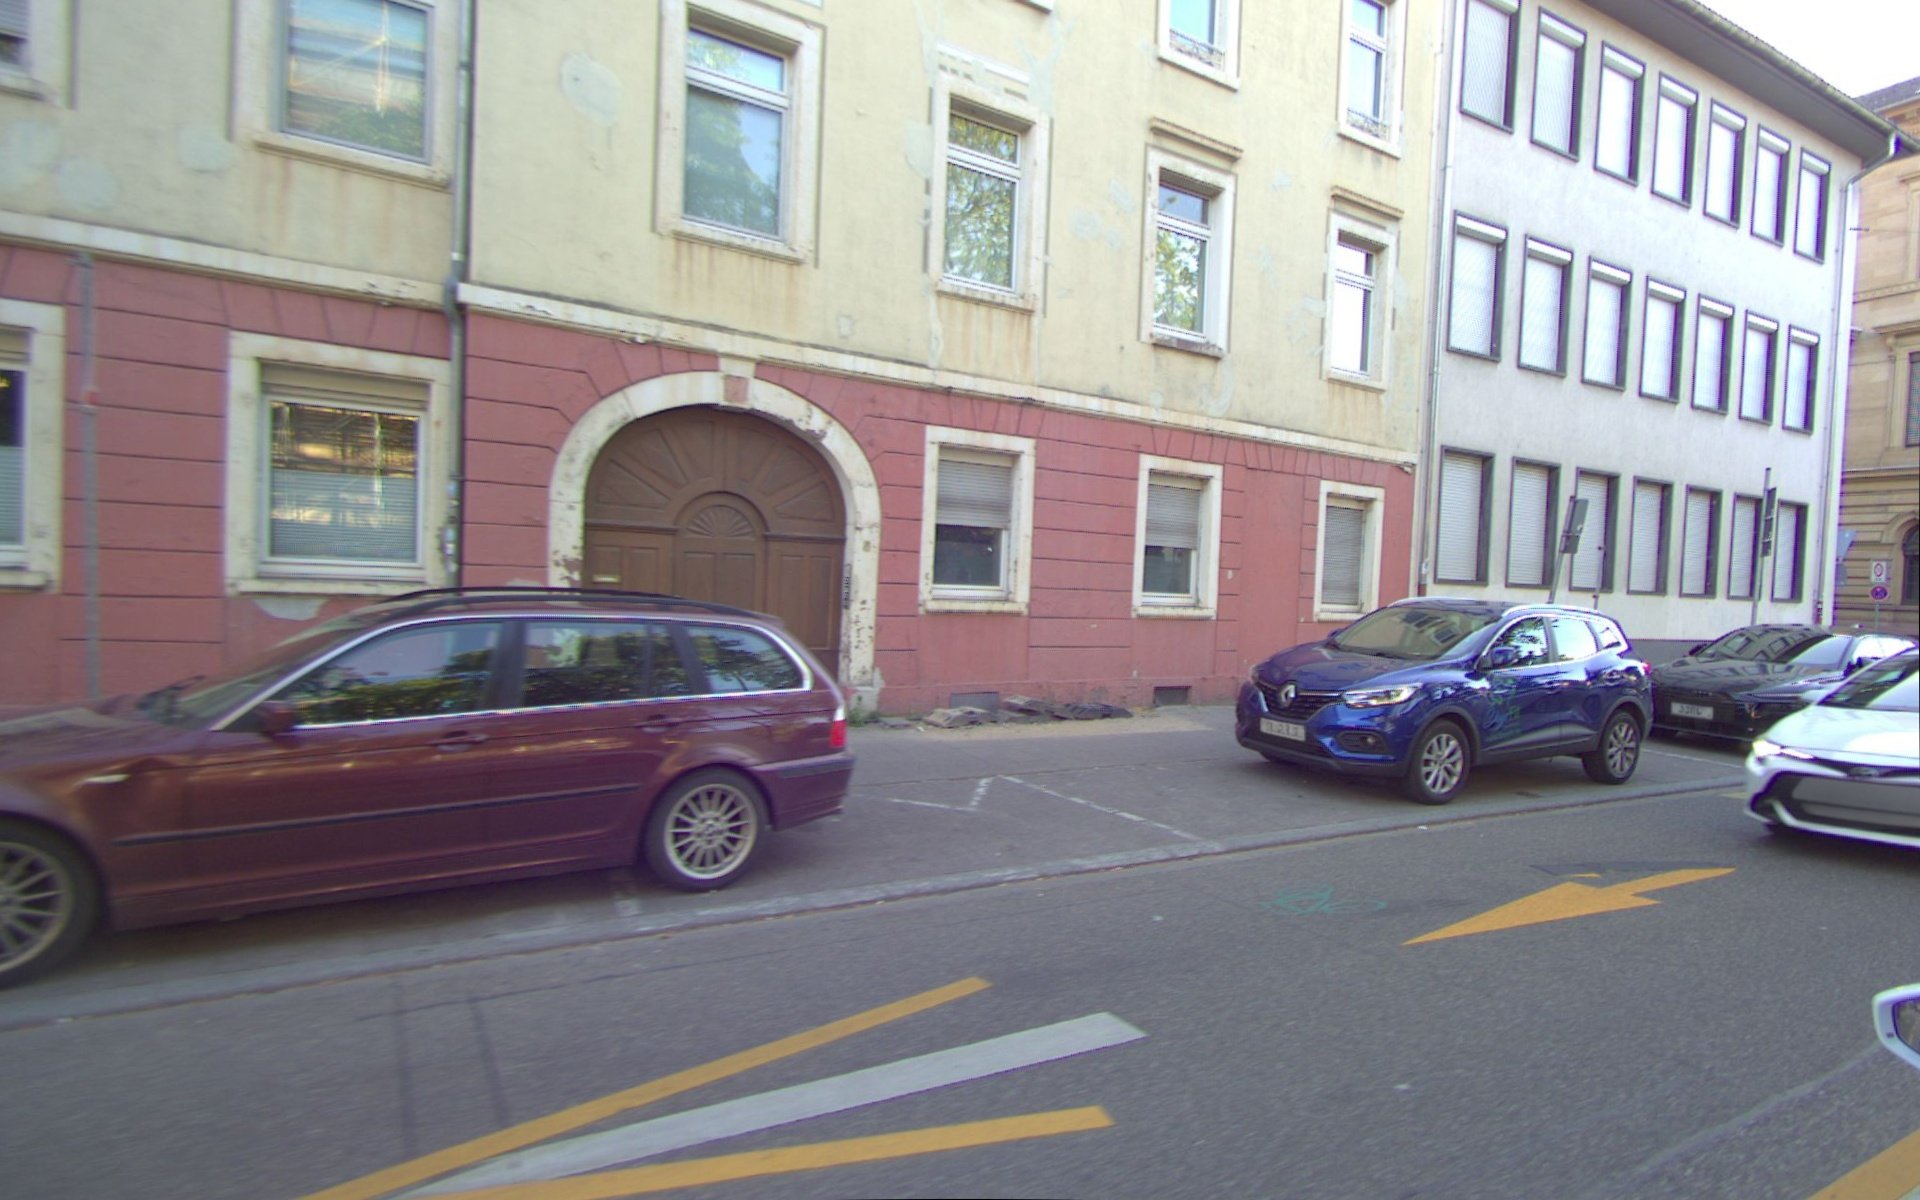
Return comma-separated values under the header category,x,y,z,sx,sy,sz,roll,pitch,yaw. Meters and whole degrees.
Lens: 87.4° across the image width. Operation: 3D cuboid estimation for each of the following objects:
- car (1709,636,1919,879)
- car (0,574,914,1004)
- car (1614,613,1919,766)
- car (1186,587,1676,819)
category,x,y,z,sx,sy,sz,roll,pitch,yaw
car,7.529,0.994,7.221,4.372,1.440,1.728,1,-2,-28
car,-2.538,0.682,5.031,4.380,1.500,1.643,1,1,-33
car,10.542,1.014,12.666,4.702,1.524,1.815,1,2,-29
car,4.387,0.790,9.258,4.294,1.690,1.925,1,1,-29
